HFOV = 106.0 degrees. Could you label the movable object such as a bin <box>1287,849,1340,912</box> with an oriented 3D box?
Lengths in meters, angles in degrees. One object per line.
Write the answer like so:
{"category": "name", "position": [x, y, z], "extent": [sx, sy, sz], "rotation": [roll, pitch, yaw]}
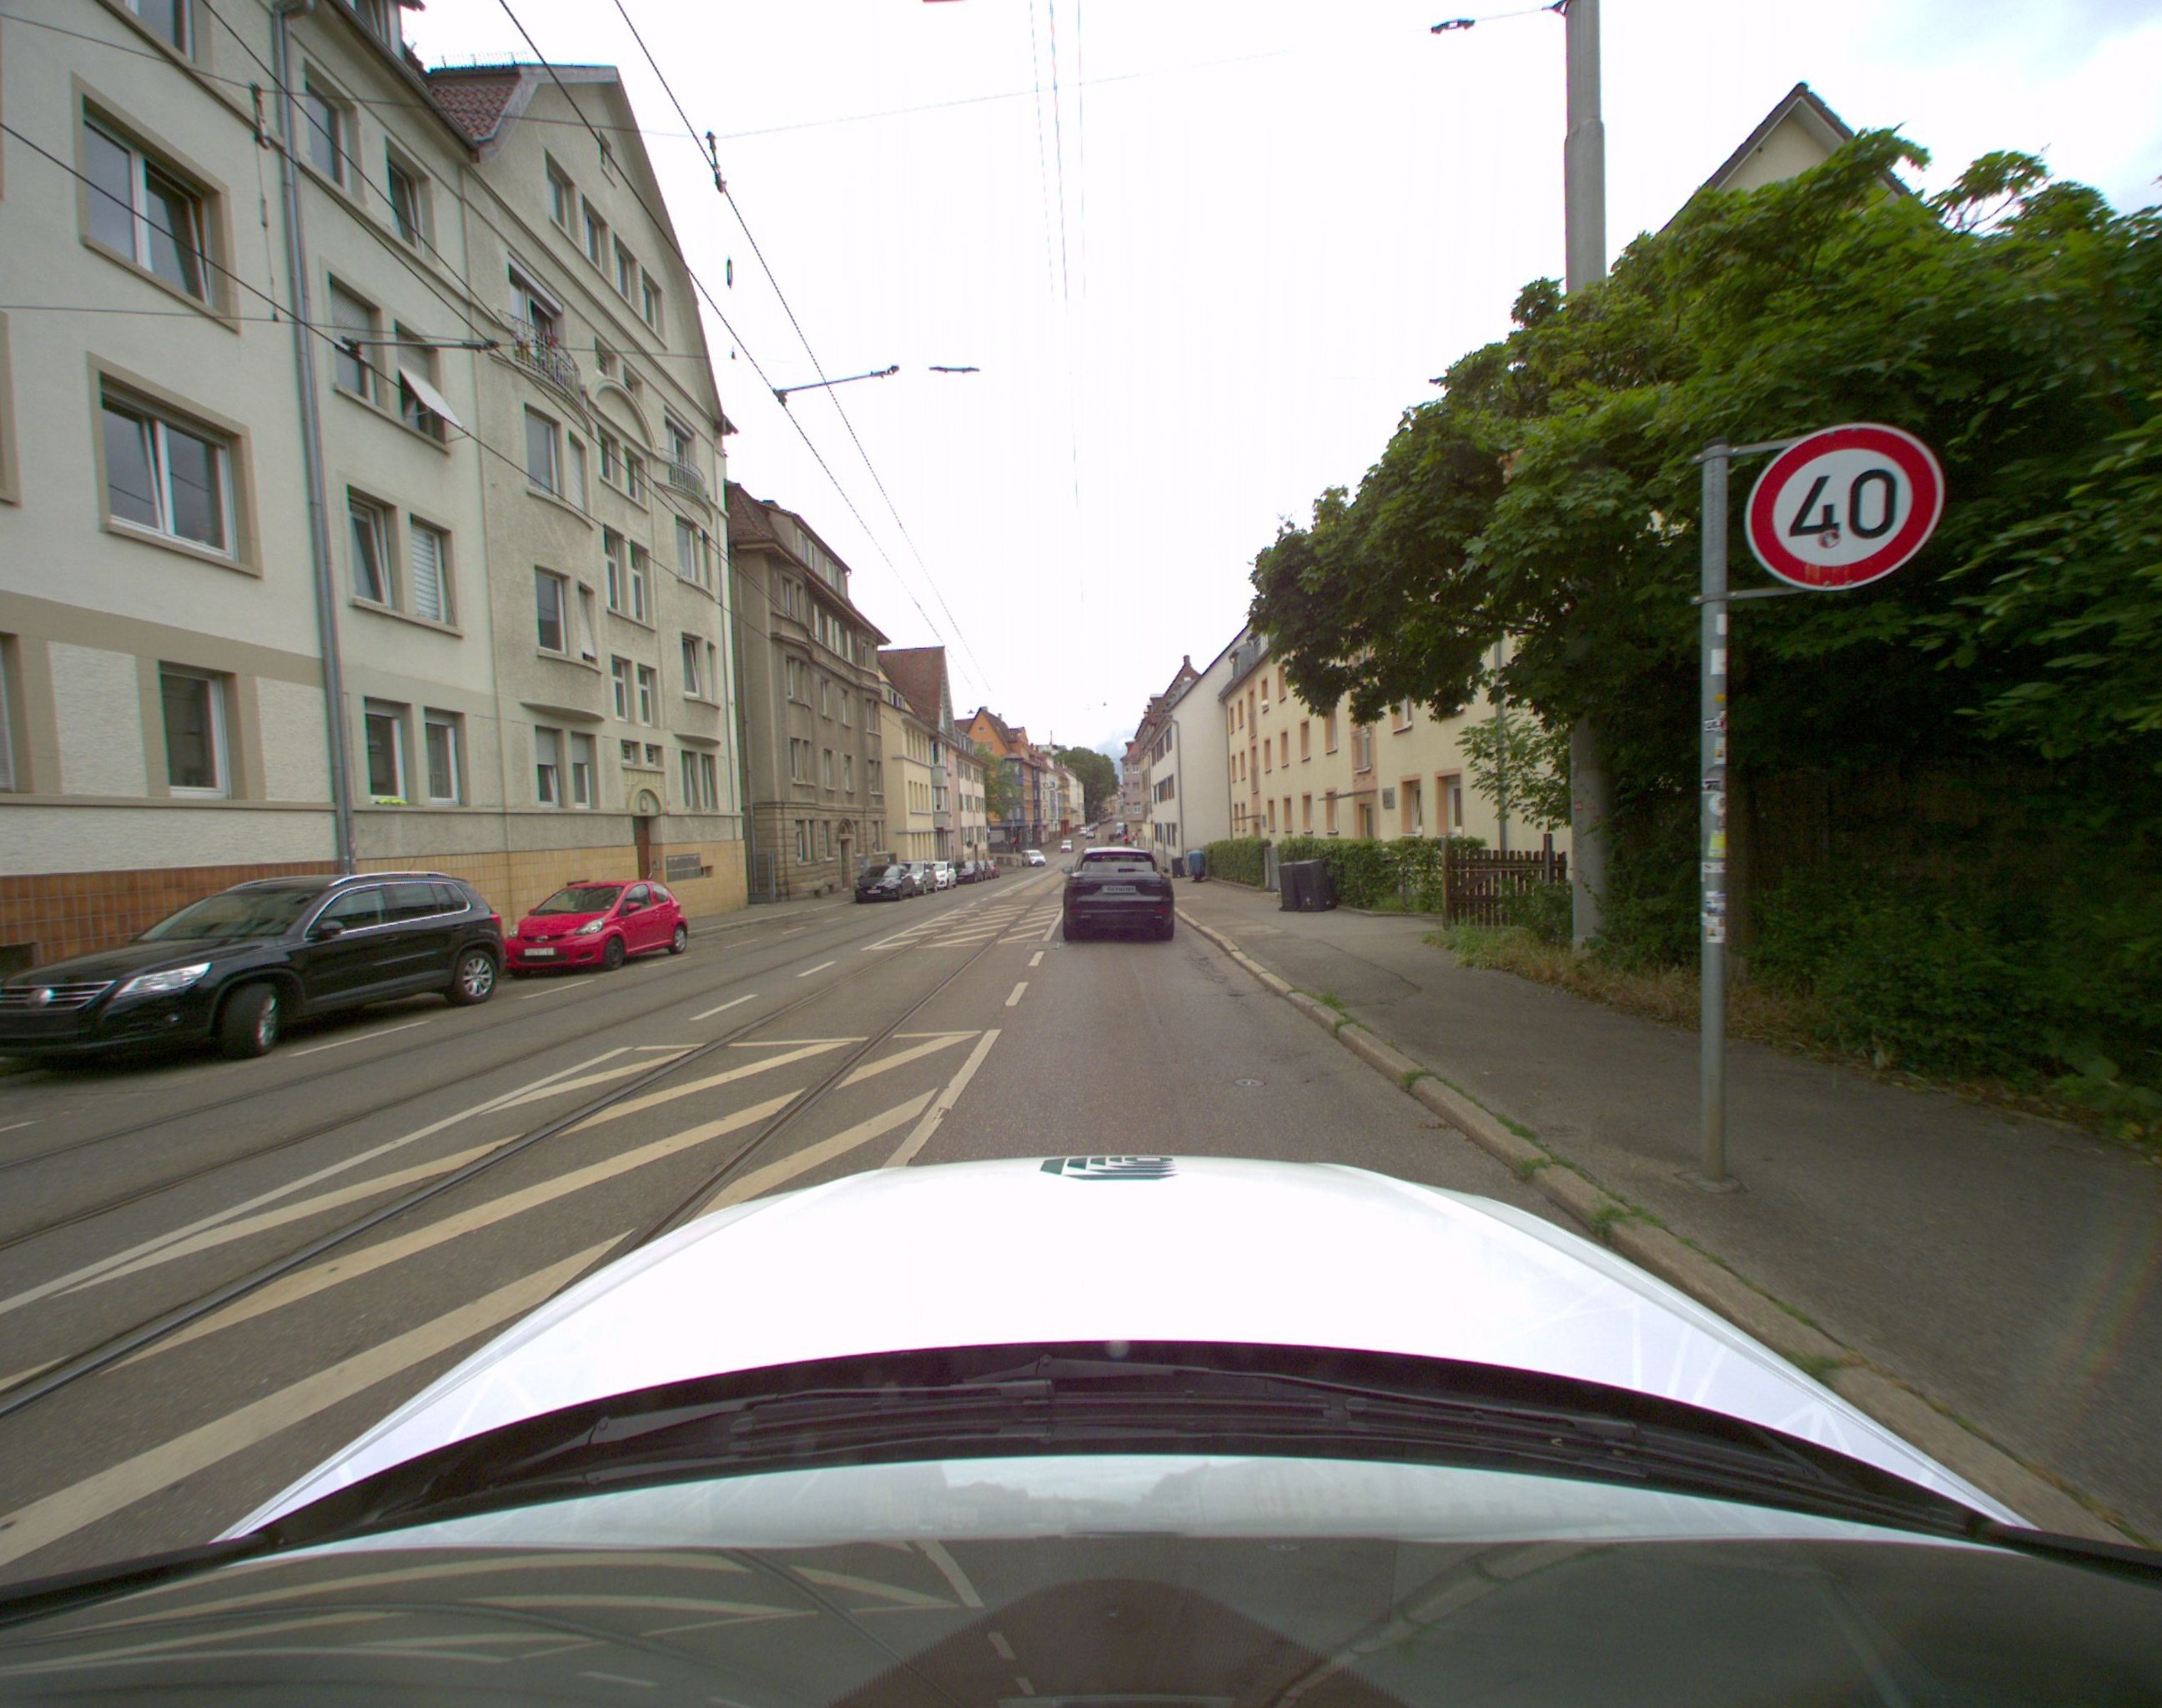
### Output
{"category": "movable object such as a bin", "position": [4.752, 0.527, 16.680], "extent": [0.790, 1.218, 0.788], "rotation": [-3, -1, -3]}

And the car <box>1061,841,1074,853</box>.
{"category": "car", "position": [-2.066, -1.074, 128.202], "extent": [1.744, 1.759, 4.256], "rotation": [-3, 0, 2]}

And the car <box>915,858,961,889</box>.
{"category": "car", "position": [-7.629, 1.025, 43.628], "extent": [1.615, 1.463, 3.686], "rotation": [-4, -1, 2]}

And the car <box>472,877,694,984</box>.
{"category": "car", "position": [-8.383, 1.205, 14.129], "extent": [1.617, 1.463, 3.741], "rotation": [-4, -1, -3]}

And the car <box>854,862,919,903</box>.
{"category": "car", "position": [-7.821, 1.107, 33.091], "extent": [1.615, 1.463, 4.032], "rotation": [-4, -1, 0]}

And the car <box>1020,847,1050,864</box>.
{"category": "car", "position": [-5.213, 0.194, 91.996], "extent": [1.931, 1.819, 4.181], "rotation": [-3, -1, -26]}

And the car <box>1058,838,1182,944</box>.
{"category": "car", "position": [0.685, 0.626, 15.588], "extent": [1.987, 1.676, 4.000], "rotation": [-3, 0, 1]}

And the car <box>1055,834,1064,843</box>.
{"category": "car", "position": [-4.000, -2.838, 150.052], "extent": [1.389, 1.450, 3.360], "rotation": [-3, 0, 2]}

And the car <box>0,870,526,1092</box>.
{"category": "car", "position": [-8.317, 1.060, 8.563], "extent": [1.861, 1.646, 4.401], "rotation": [-4, -1, 0]}

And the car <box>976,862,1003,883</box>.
{"category": "car", "position": [-7.099, 1.425, 63.488], "extent": [1.615, 1.490, 4.046], "rotation": [-4, -1, 0]}

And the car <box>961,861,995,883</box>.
{"category": "car", "position": [-7.246, 1.250, 57.726], "extent": [1.730, 1.410, 4.001], "rotation": [-3, 0, 1]}

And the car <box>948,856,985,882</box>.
{"category": "car", "position": [-7.268, 0.962, 51.862], "extent": [1.615, 1.473, 4.555], "rotation": [-4, -1, 0]}

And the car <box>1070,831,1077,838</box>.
{"category": "car", "position": [-1.580, -4.096, 171.468], "extent": [1.389, 1.450, 3.360], "rotation": [-3, 0, 2]}

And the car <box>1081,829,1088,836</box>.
{"category": "car", "position": [0.780, -5.009, 187.504], "extent": [1.389, 1.450, 3.360], "rotation": [-3, 0, 2]}

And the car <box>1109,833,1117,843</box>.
{"category": "car", "position": [5.904, -2.915, 150.146], "extent": [1.389, 1.722, 3.360], "rotation": [-3, 0, 2]}

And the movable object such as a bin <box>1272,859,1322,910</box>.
{"category": "movable object such as a bin", "position": [4.623, 0.644, 17.480], "extent": [0.790, 1.012, 0.788], "rotation": [-3, -1, -3]}

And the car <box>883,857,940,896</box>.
{"category": "car", "position": [-7.737, 1.019, 37.550], "extent": [1.615, 1.604, 4.350], "rotation": [-4, -1, 0]}

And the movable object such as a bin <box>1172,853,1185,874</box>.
{"category": "movable object such as a bin", "position": [5.076, 0.500, 42.459], "extent": [0.586, 1.080, 0.692], "rotation": [-3, -1, 3]}

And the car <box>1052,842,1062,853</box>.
{"category": "car", "position": [-4.026, -1.105, 137.082], "extent": [1.389, 1.722, 3.360], "rotation": [-3, 0, 2]}

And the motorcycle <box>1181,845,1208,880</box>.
{"category": "motorcycle", "position": [4.926, 0.374, 35.584], "extent": [0.835, 1.456, 2.554], "rotation": [-3, 0, 2]}
